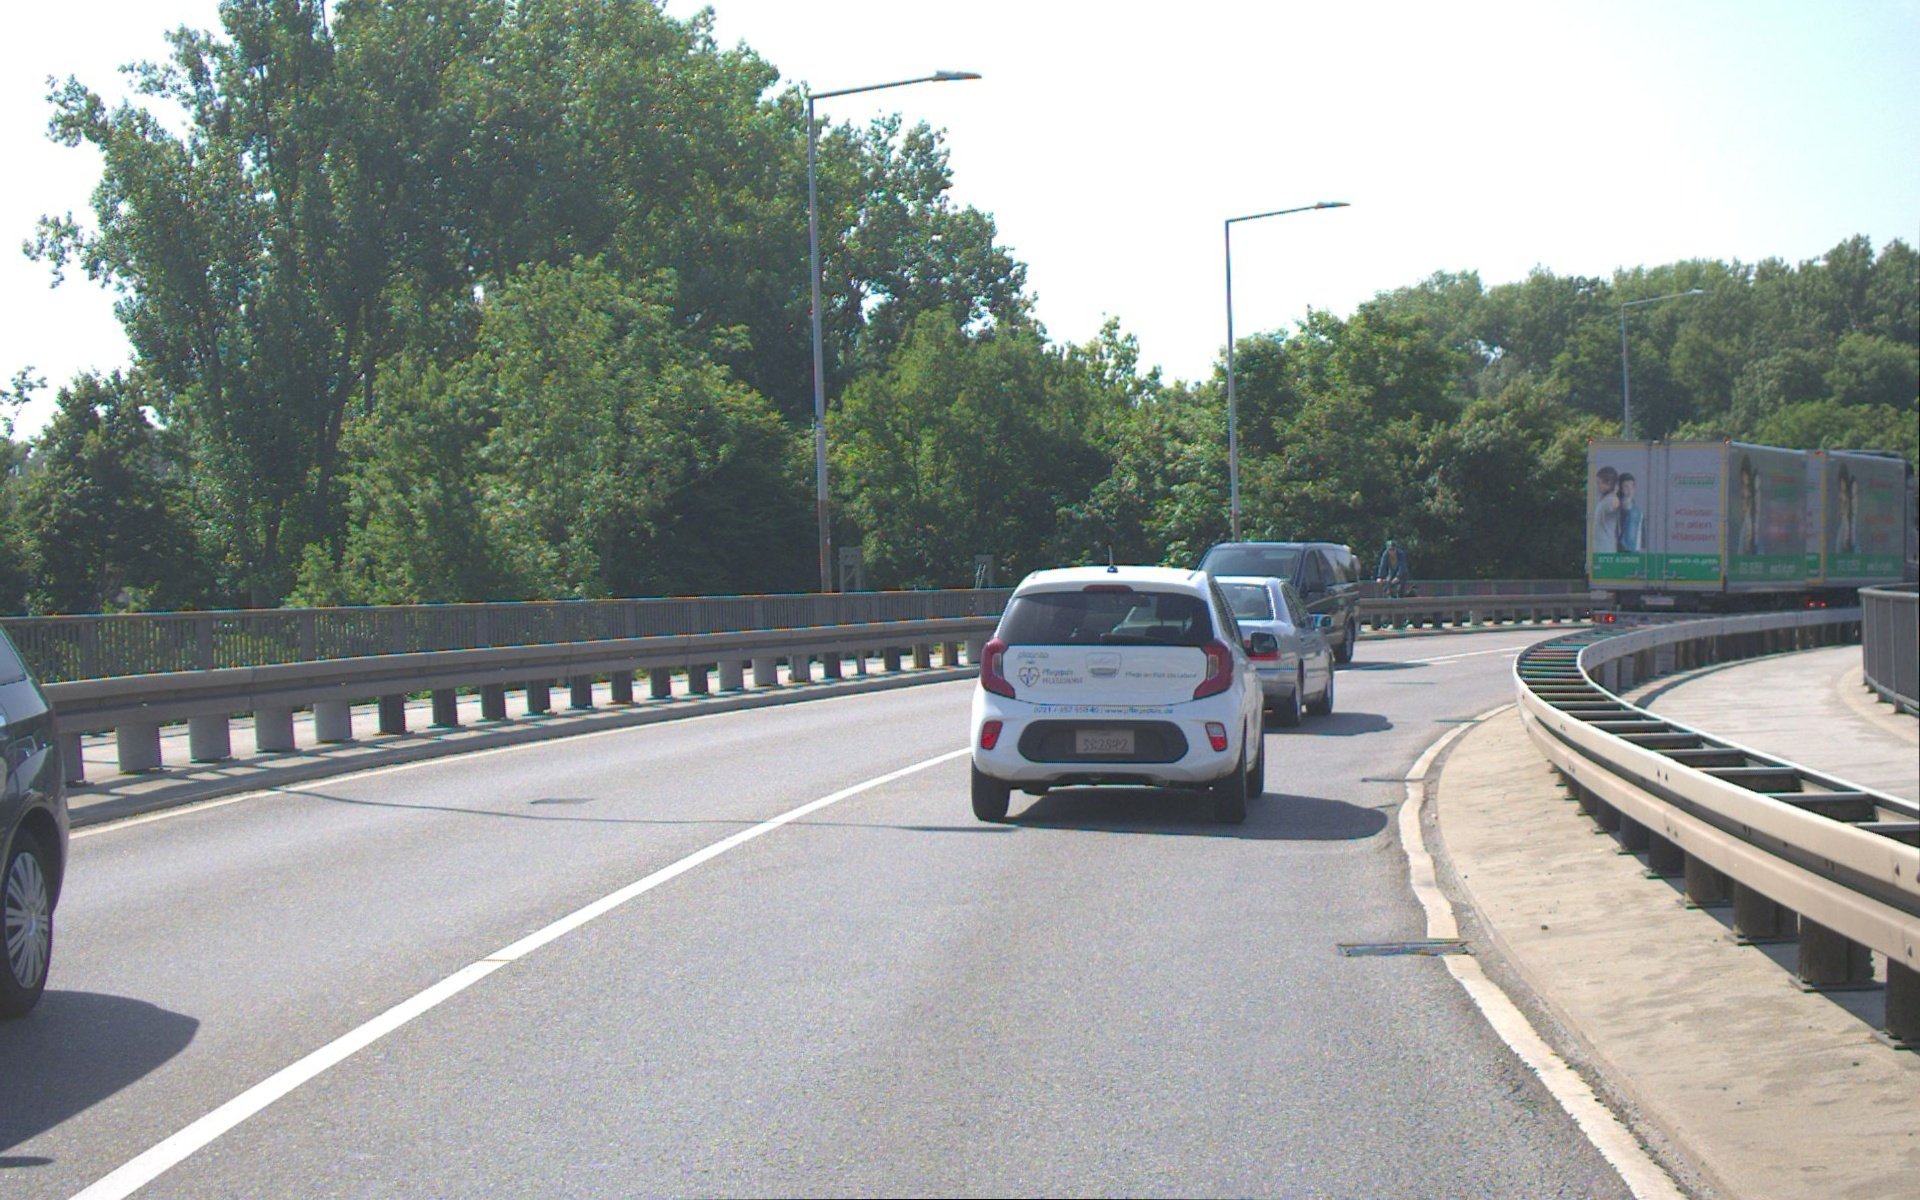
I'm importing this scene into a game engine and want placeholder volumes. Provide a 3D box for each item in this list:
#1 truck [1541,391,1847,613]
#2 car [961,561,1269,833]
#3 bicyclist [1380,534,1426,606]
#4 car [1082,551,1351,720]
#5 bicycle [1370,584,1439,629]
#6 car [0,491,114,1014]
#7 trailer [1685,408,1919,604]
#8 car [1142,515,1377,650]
[{"bbox_3d":[13.702,-1.800,63.569,3.265,3.745,8.358,3,2,28],"label":"truck"},{"bbox_3d":[1.018,0.525,21.470,1.702,1.489,4.000,2,1,4],"label":"car"},{"bbox_3d":[9.383,-0.646,72.760,0.661,1.491,1.015,1,3,26],"label":"bicyclist"},{"bbox_3d":[2.573,0.281,33.340,1.940,1.481,4.897,1,1,12],"label":"car"},{"bbox_3d":[9.427,0.134,72.873,0.929,0.888,1.965,1,1,24],"label":"bicycle"},{"bbox_3d":[-3.867,0.470,9.590,1.732,1.619,4.303,2,1,3],"label":"car"},{"bbox_3d":[17.811,-1.943,71.316,3.229,3.745,7.812,3,2,28],"label":"trailer"},{"bbox_3d":[4.607,-0.293,51.936,2.077,1.882,5.909,2,1,19],"label":"car"}]
